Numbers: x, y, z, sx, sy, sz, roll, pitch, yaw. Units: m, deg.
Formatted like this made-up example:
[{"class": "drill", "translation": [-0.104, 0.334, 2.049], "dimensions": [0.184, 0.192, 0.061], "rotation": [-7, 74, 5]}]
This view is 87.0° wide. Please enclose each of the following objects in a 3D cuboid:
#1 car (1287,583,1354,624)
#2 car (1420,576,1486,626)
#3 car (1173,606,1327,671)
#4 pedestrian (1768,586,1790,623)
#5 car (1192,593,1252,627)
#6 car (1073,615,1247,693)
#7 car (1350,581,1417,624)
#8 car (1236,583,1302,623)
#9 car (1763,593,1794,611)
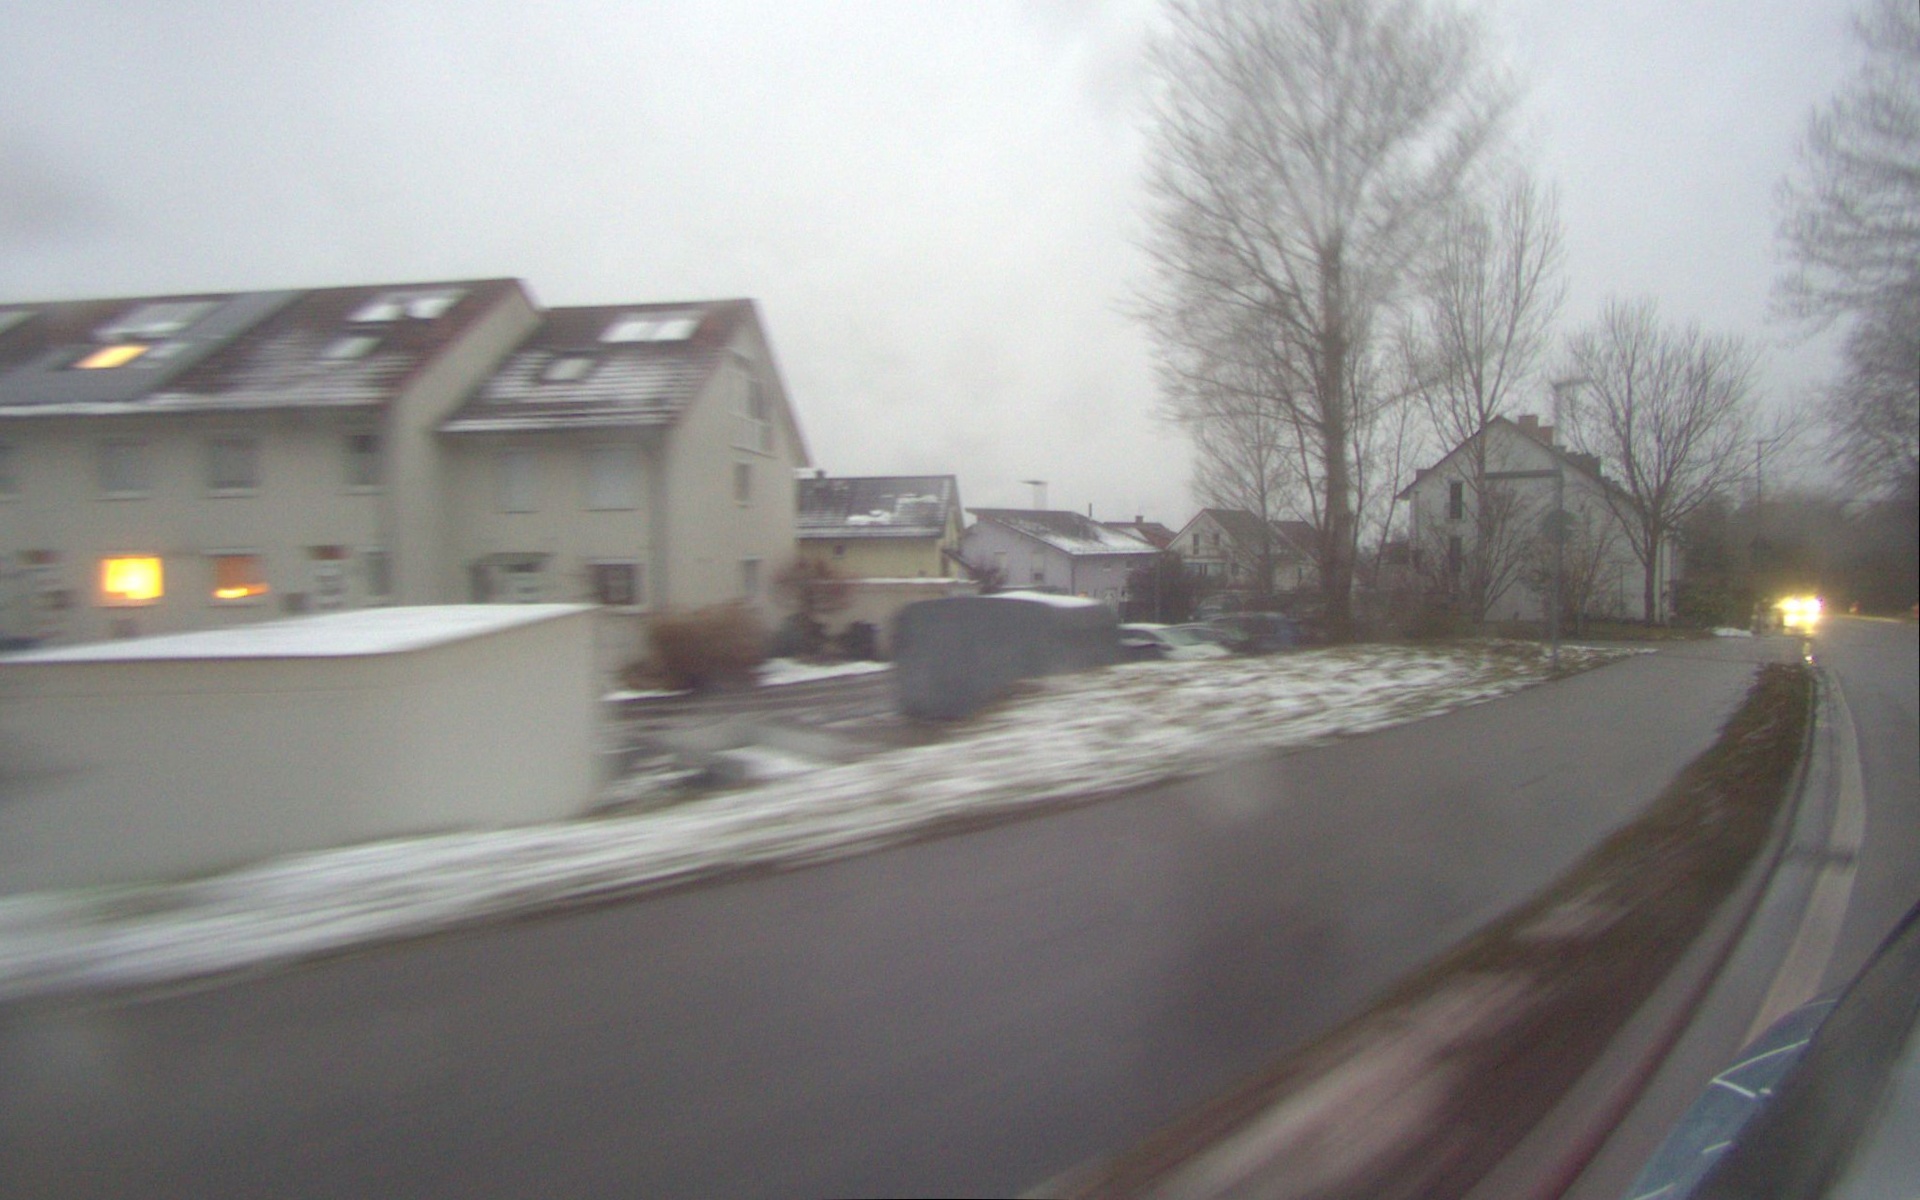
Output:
[{"class": "car", "translation": [15.747, 0.114, 44.150], "dimensions": [1.635, 1.490, 3.690], "rotation": [1, 5, 39]}, {"class": "car", "translation": [19.964, 0.003, 40.928], "dimensions": [1.635, 1.703, 3.690], "rotation": [1, 5, 39]}, {"class": "car", "translation": [8.078, 1.012, 28.330], "dimensions": [3.773, 1.617, 1.779], "rotation": [1, 0, 37]}, {"class": "pedestrian", "translation": [37.913, 0.209, 46.858], "dimensions": [0.742, 1.676, 0.957], "rotation": [1, 0, 38]}, {"class": "car", "translation": [12.273, 0.439, 47.265], "dimensions": [1.466, 1.293, 3.354], "rotation": [1, 5, 39]}, {"class": "car", "translation": [4.819, 1.236, 24.554], "dimensions": [3.773, 1.617, 1.779], "rotation": [1, 0, 37]}, {"class": "car", "translation": [17.799, 0.060, 42.448], "dimensions": [1.635, 1.490, 3.690], "rotation": [1, 5, 39]}, {"class": "car", "translation": [14.268, 0.100, 46.615], "dimensions": [1.635, 1.490, 3.690], "rotation": [1, 5, 39]}, {"class": "car", "translation": [73.154, 0.143, 90.488], "dimensions": [1.696, 1.525, 3.978], "rotation": [-1, 0, 33]}]
